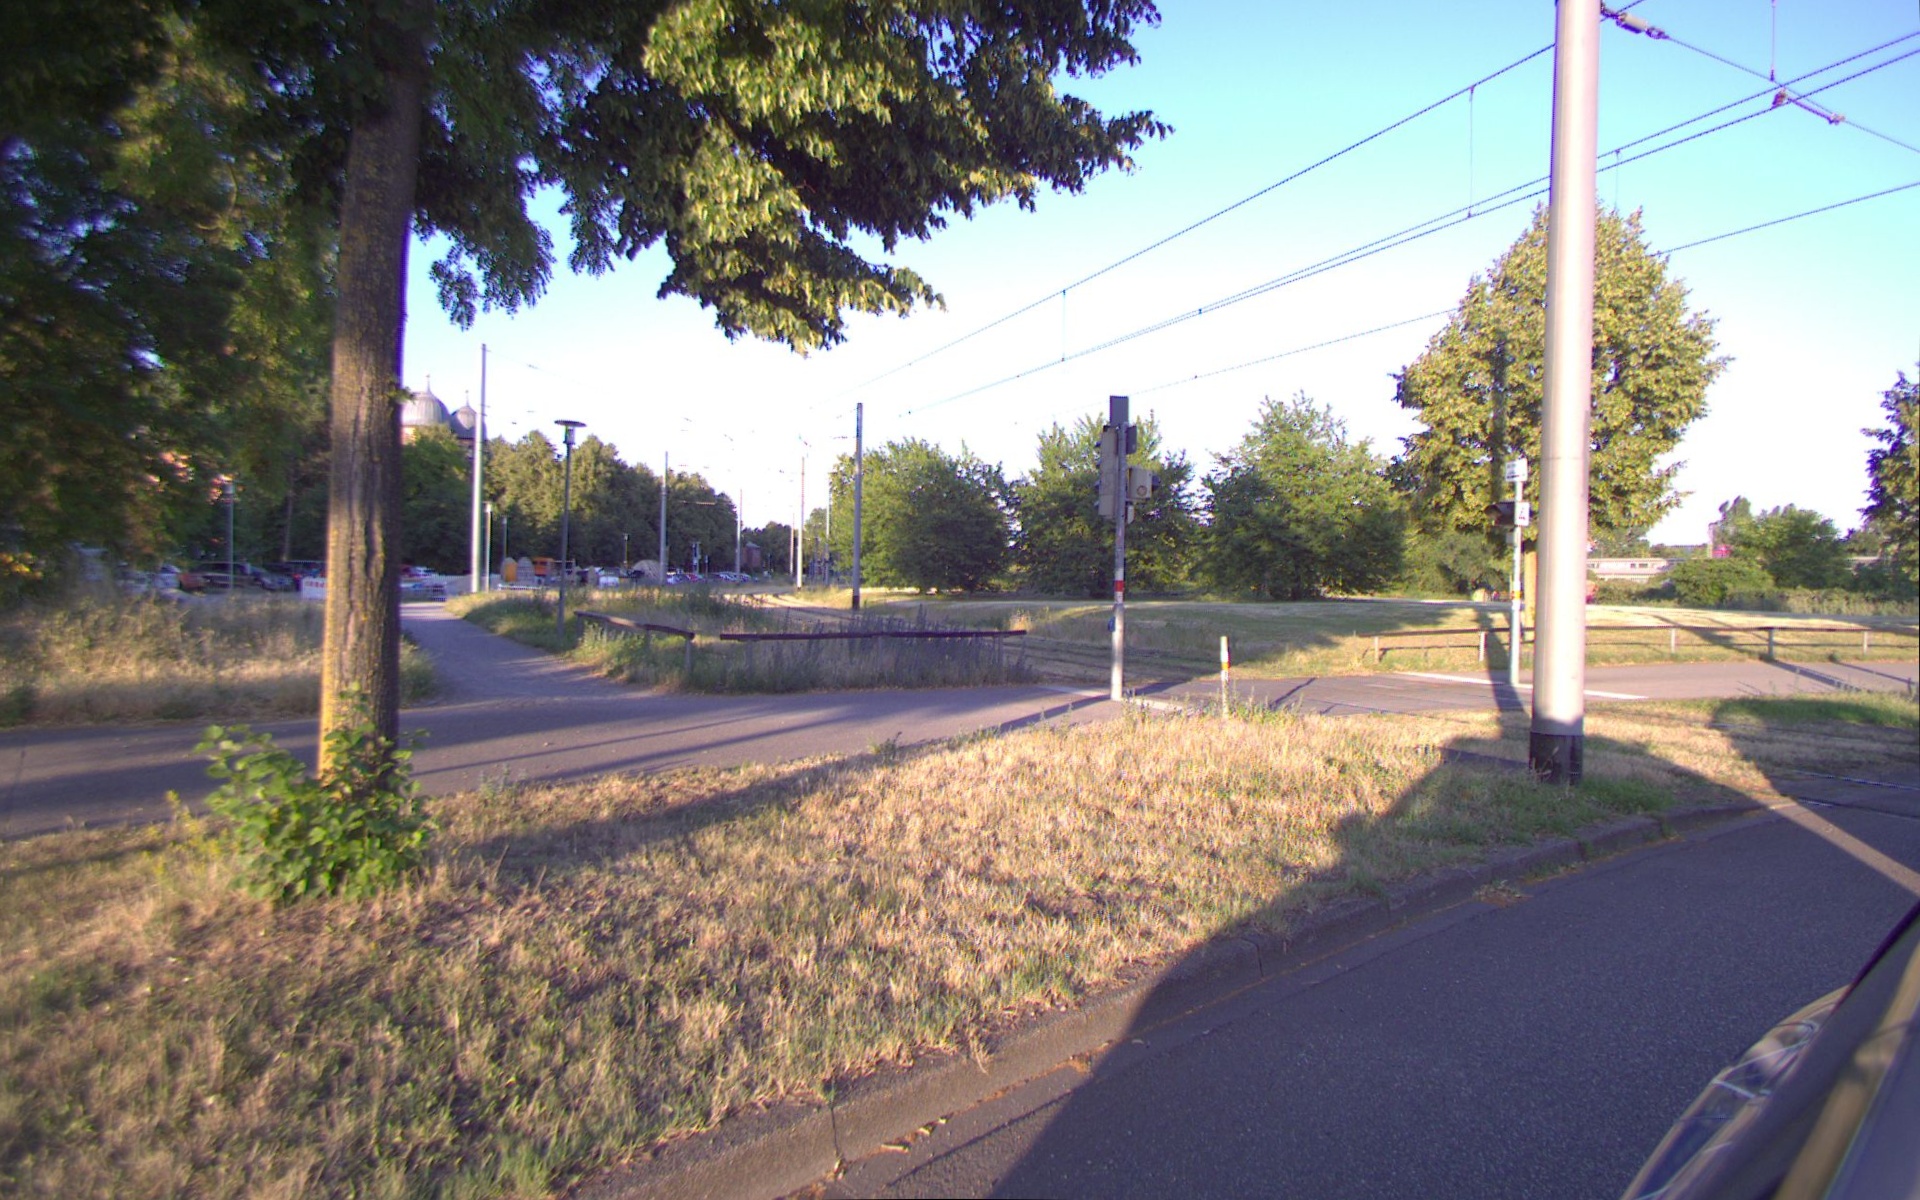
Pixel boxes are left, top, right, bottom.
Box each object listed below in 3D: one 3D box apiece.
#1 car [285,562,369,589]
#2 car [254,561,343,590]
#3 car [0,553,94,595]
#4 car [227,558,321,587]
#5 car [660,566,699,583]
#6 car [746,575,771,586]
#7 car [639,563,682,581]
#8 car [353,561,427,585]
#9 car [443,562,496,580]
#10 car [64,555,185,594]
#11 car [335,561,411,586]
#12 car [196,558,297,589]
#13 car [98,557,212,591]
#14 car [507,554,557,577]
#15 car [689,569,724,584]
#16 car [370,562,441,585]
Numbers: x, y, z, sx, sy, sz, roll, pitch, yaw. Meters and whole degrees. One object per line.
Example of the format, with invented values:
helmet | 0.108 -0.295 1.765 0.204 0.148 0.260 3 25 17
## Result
car | -38.697 -1.482 61.967 3.920 1.573 1.906 1 1 -5
car | -38.482 -1.424 58.977 3.920 1.573 1.906 1 1 -5
car | -38.638 -1.086 41.828 3.920 1.682 1.955 1 1 -5
car | -38.322 -1.532 56.617 3.920 1.573 1.906 1 1 -5
car | -28.372 -2.584 102.374 3.538 1.500 1.713 2 0 -8
car | -29.501 -2.880 148.168 3.538 1.500 1.713 2 0 -8
car | -27.378 -2.559 92.584 3.538 1.500 1.713 2 0 -8
car | -38.774 -1.856 68.920 3.920 1.573 1.906 1 1 -5
car | -40.128 -2.375 82.853 3.604 1.371 1.803 0 2 -8
car | -38.515 -1.183 46.724 3.920 1.682 1.955 1 1 -5
car | -38.514 -1.742 66.484 3.920 1.573 1.906 1 1 -5
car | -38.060 -1.422 54.040 4.017 1.573 1.906 1 1 -5
car | -38.955 -1.256 49.040 3.920 1.573 1.906 1 1 -5
car | -40.596 -3.293 96.075 3.920 2.121 1.906 1 1 -5
car | -27.497 -2.550 109.944 3.538 1.500 1.713 2 0 -8
car | -39.026 -1.873 71.313 3.920 1.573 1.906 1 1 -5
